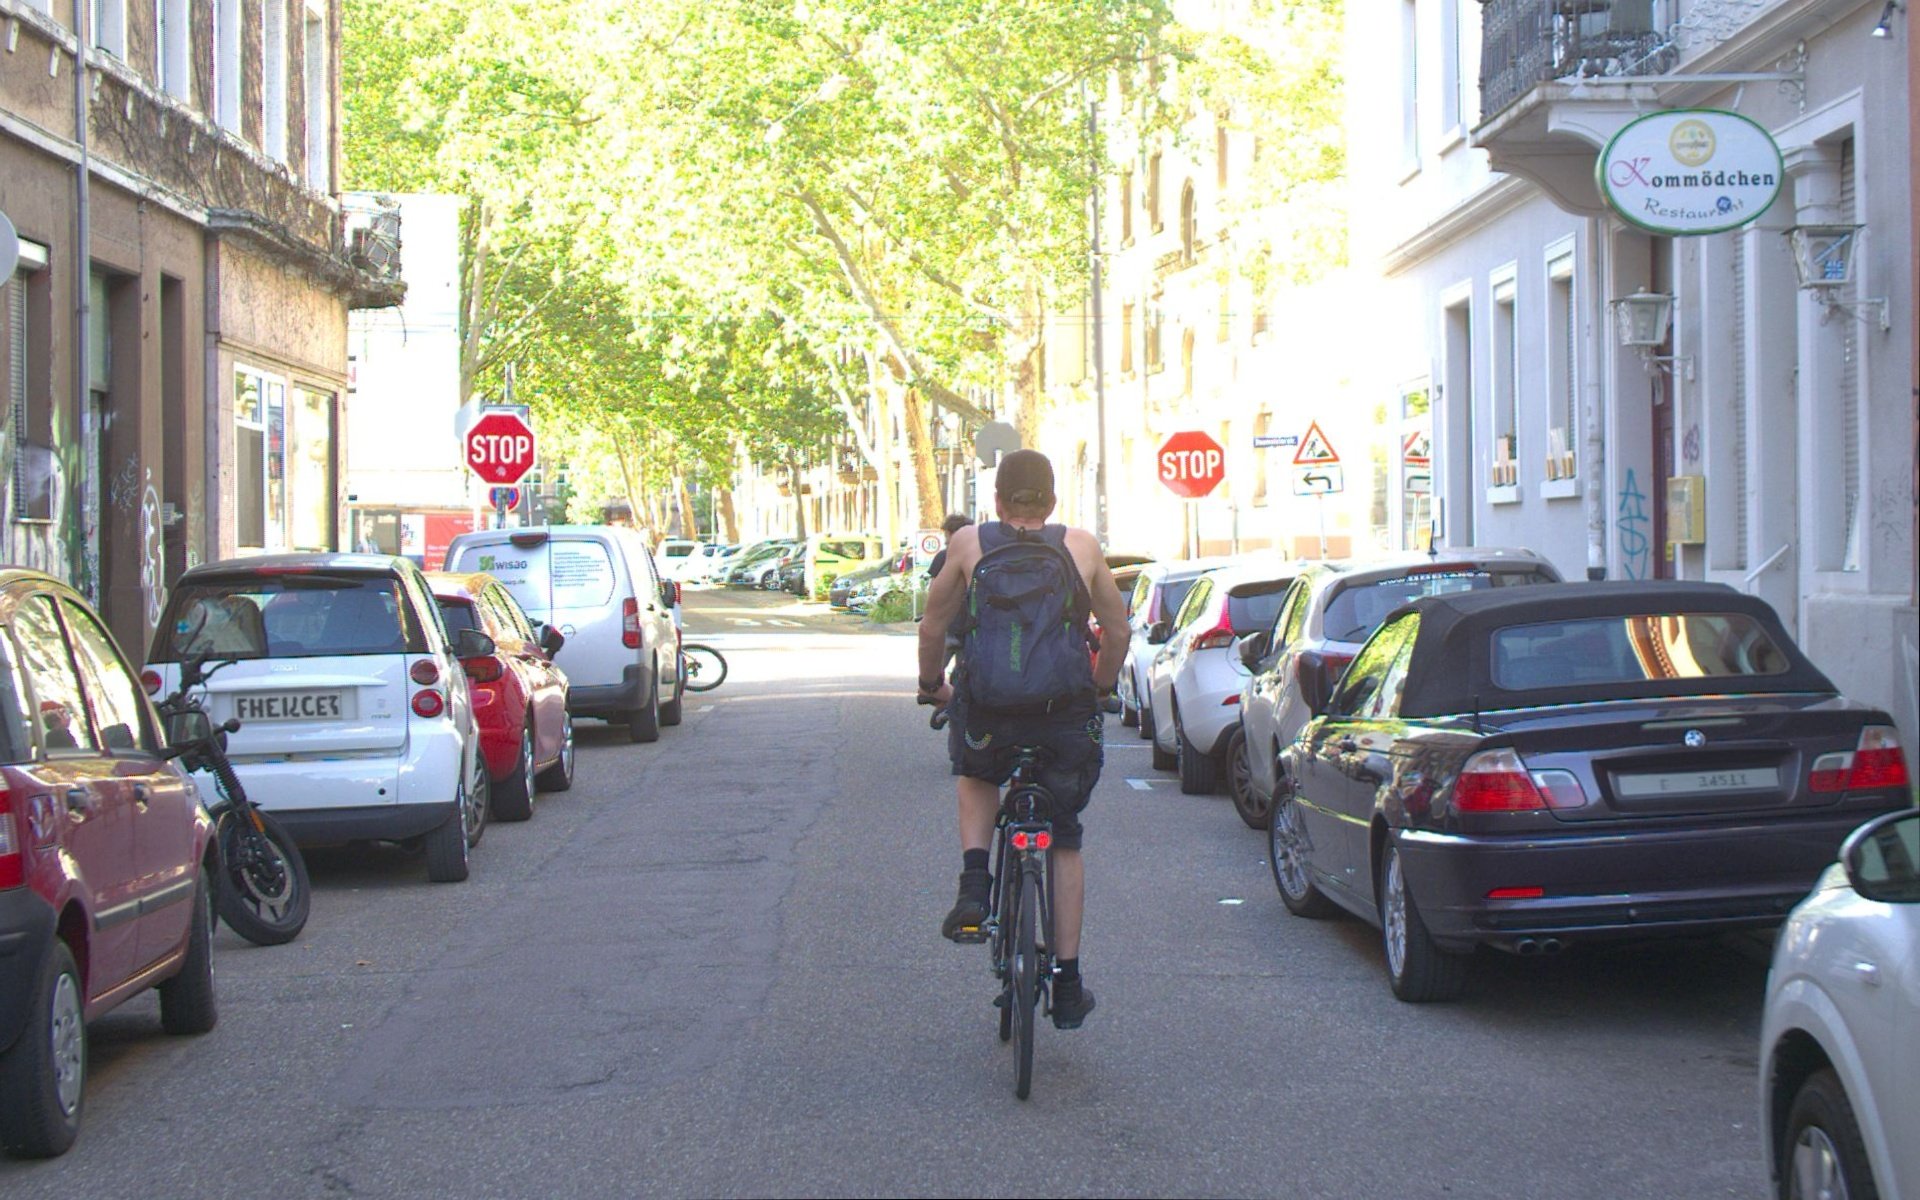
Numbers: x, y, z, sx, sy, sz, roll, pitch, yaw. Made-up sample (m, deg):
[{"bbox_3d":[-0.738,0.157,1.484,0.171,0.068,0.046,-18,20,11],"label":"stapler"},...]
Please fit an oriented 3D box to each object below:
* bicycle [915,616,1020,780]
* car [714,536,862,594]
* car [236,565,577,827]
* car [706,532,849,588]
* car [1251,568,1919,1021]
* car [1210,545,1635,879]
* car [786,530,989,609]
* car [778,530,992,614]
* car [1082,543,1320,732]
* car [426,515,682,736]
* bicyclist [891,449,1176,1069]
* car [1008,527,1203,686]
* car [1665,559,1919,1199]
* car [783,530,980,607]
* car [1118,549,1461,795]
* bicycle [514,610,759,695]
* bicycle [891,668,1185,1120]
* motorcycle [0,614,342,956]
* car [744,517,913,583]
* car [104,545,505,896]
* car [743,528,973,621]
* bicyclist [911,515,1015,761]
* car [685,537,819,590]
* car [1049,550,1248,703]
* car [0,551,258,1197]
[{"bbox_3d":[0.038,0.653,23.748,0.664,1.034,1.959,-1,1,-1],"label":"bicycle"},{"bbox_3d":[-5.334,-1.099,106.319,4.468,1.690,1.867,-1,1,-5],"label":"car"},{"bbox_3d":[-3.282,0.515,20.959,1.552,1.395,3.668,-1,1,-1],"label":"car"},{"bbox_3d":[-5.836,-1.272,109.650,4.468,1.690,1.867,-1,1,-5],"label":"car"},{"bbox_3d":[2.171,0.581,12.641,1.657,1.334,4.001,-1,1,-3],"label":"car"},{"bbox_3d":[2.252,0.481,17.622,1.592,1.487,3.876,-1,1,-1],"label":"car"},{"bbox_3d":[-1.675,-0.708,78.370,4.468,1.690,1.867,-1,1,-5],"label":"car"},{"bbox_3d":[-1.641,-0.612,73.995,4.468,1.690,1.867,-1,1,-5],"label":"car"},{"bbox_3d":[2.056,0.279,30.185,1.652,1.525,3.575,-1,1,-3],"label":"car"},{"bbox_3d":[-3.399,0.169,29.392,1.787,1.731,3.876,-1,1,-1],"label":"car"},{"bbox_3d":[0.188,0.424,9.894,0.740,1.673,1.117,1,1,-1],"label":"bicyclist"},{"bbox_3d":[1.670,0.038,40.788,1.893,1.763,4.001,-1,1,-3],"label":"car"},{"bbox_3d":[2.394,0.678,4.826,1.731,1.465,4.022,-1,1,-4],"label":"car"},{"bbox_3d":[-1.861,-0.745,80.718,4.468,1.690,1.867,-1,1,-5],"label":"car"},{"bbox_3d":[2.114,0.409,23.078,1.710,1.465,4.001,-1,1,-3],"label":"car"},{"bbox_3d":[-3.637,0.589,38.797,2.715,0.889,0.619,-1,1,-3],"label":"bicycle"},{"bbox_3d":[0.183,0.788,9.994,0.740,1.097,2.042,1,1,-1],"label":"bicycle"},{"bbox_3d":[-3.368,0.710,13.443,1.795,1.251,0.710,-1,1,-15],"label":"motorcycle"},{"bbox_3d":[-3.604,-1.362,93.695,4.468,1.690,1.867,-1,1,-5],"label":"car"},{"bbox_3d":[-3.173,0.511,17.194,1.544,1.545,3.466,-1,1,-4],"label":"car"},{"bbox_3d":[-2.067,-0.523,68.820,4.468,1.753,1.867,-1,1,-5],"label":"car"},{"bbox_3d":[0.015,0.247,23.719,0.669,1.653,0.877,-1,1,-1],"label":"bicyclist"},{"bbox_3d":[-7.062,-1.254,116.652,4.468,1.690,1.867,-1,1,-5],"label":"car"},{"bbox_3d":[1.911,0.237,35.759,1.686,1.466,3.575,-1,1,-3],"label":"car"},{"bbox_3d":[-3.106,0.654,9.820,1.604,1.525,3.379,-2,1,-3],"label":"car"}]
